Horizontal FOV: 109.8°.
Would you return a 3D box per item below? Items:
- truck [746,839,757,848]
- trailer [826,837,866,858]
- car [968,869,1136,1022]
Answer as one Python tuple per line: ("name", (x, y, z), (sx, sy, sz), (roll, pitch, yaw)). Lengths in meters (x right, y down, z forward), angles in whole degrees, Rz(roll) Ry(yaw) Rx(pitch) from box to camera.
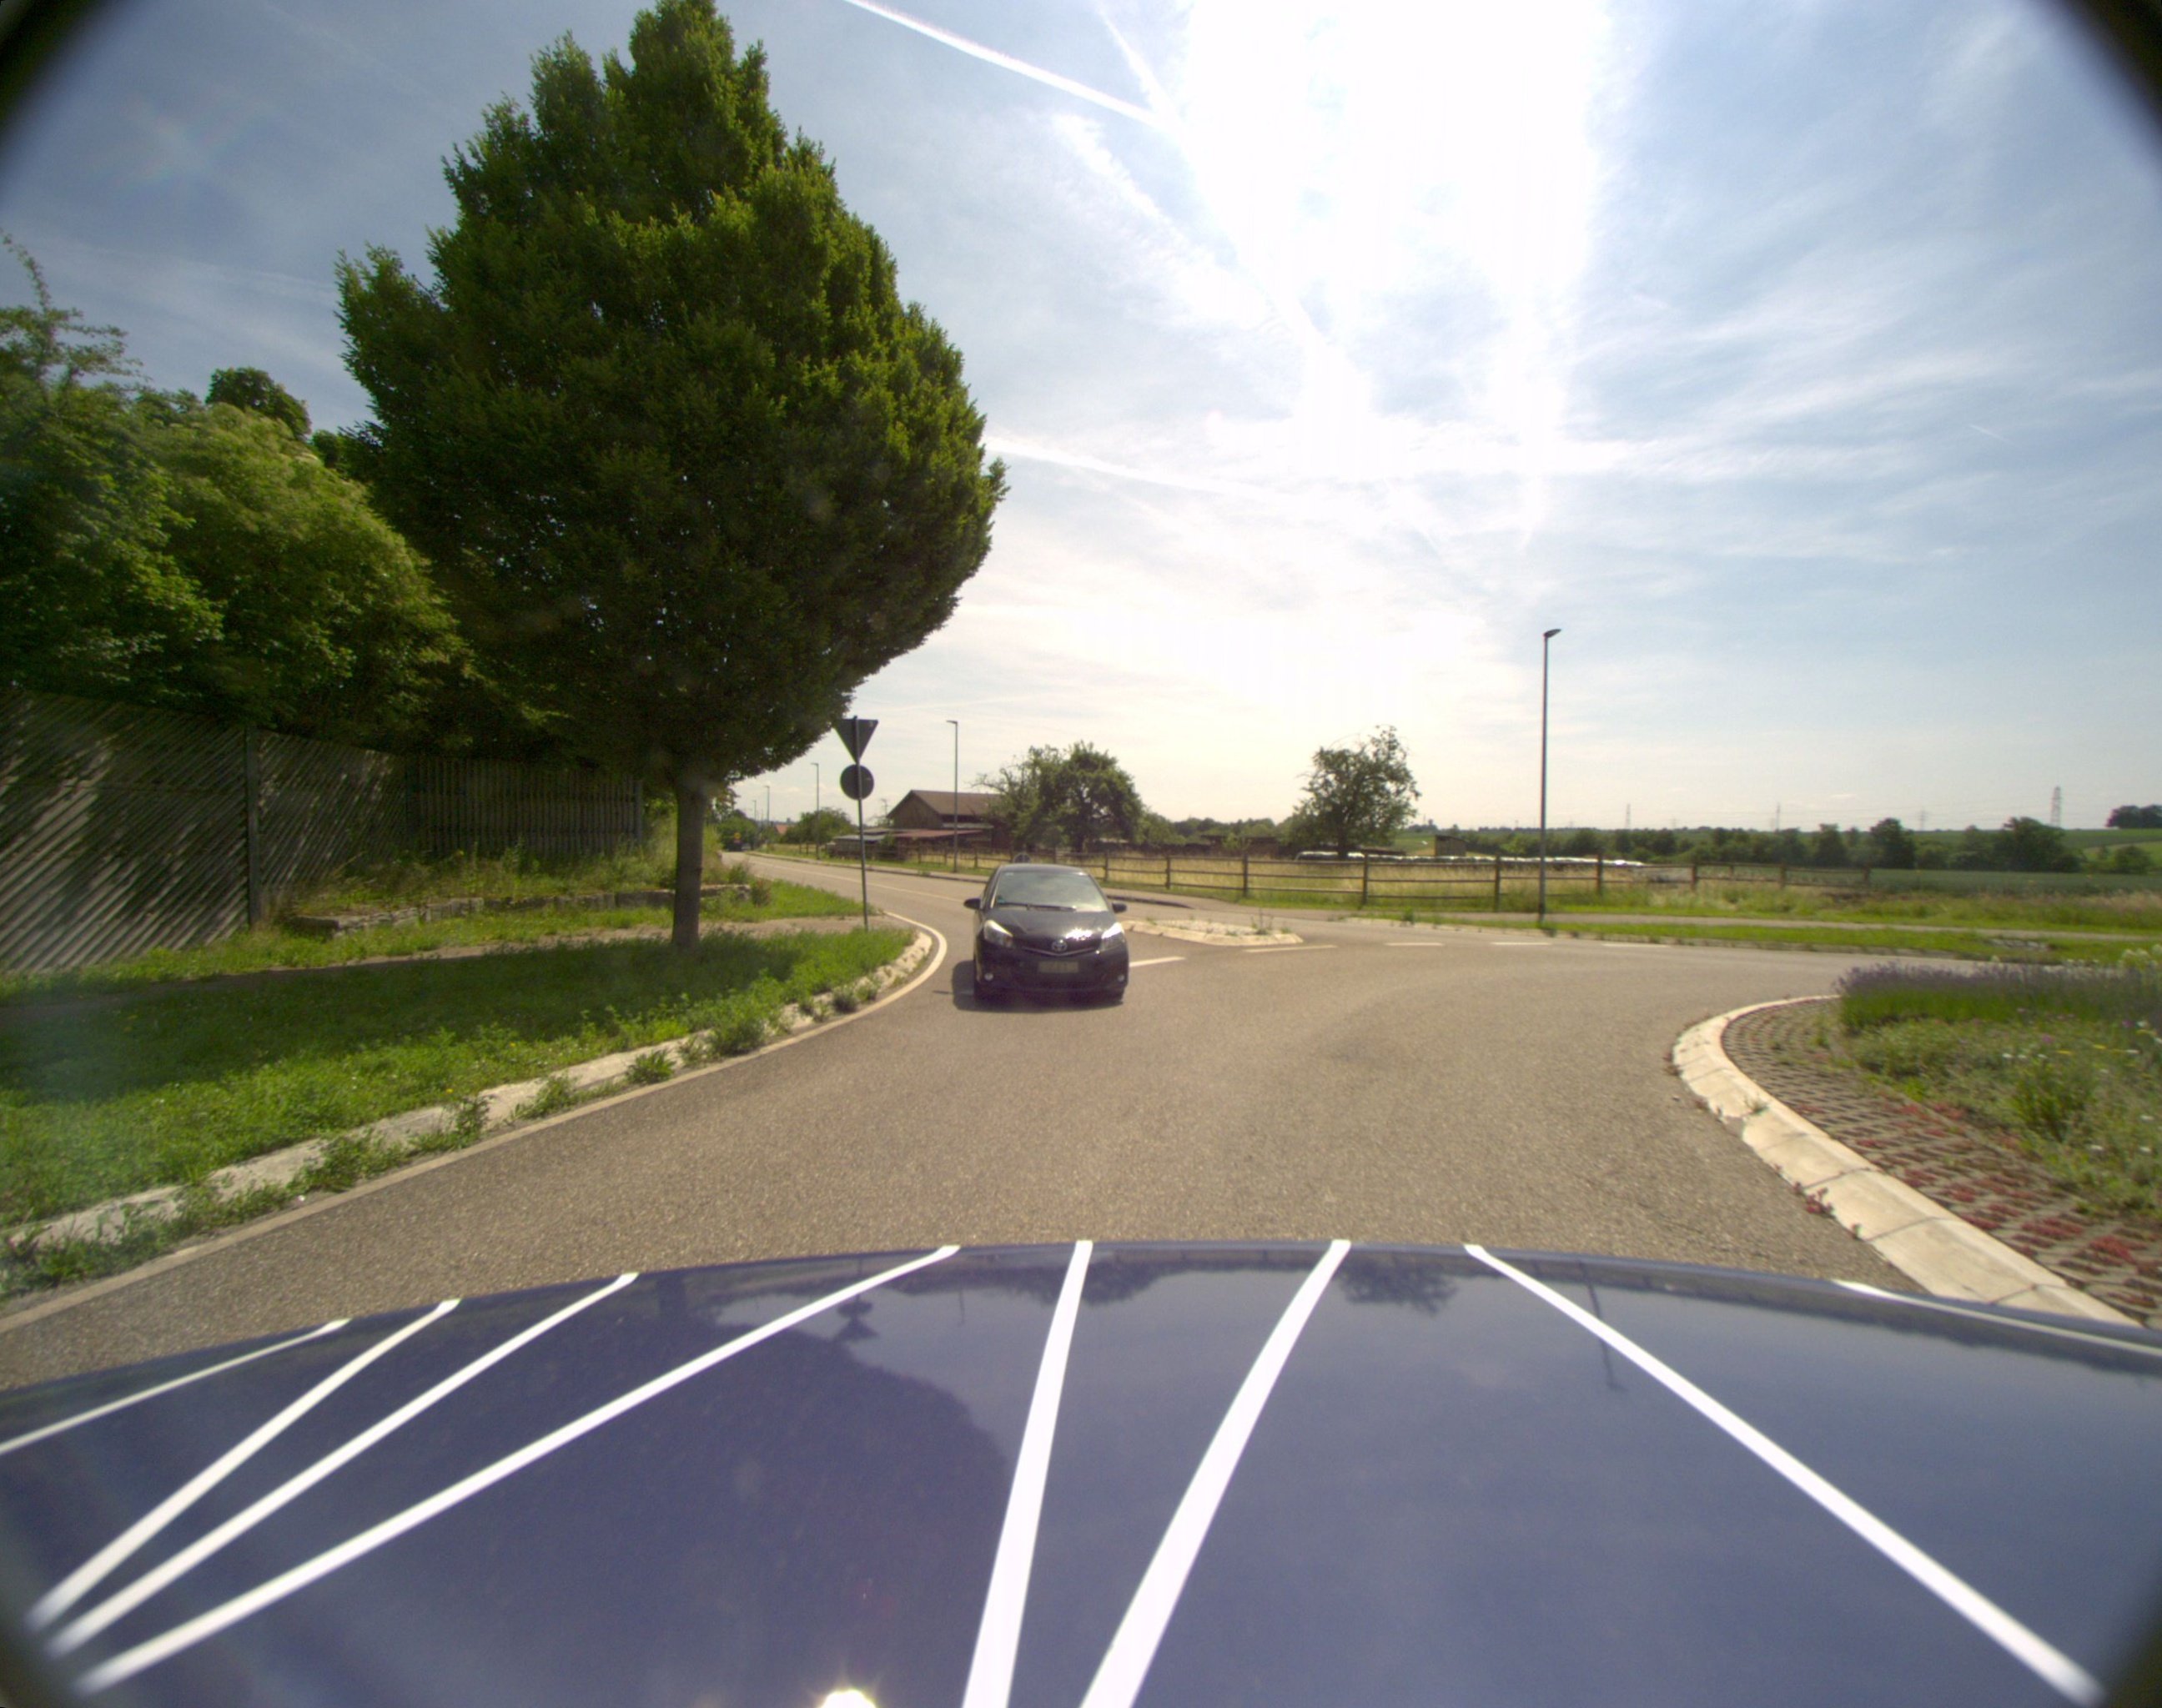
("truck", (-85.548, -2.779, 197.189), (2.233, 2.280, 6.476), (1, 1, -25))
("trailer", (-20.900, -0.600, 67.481), (2.166, 1.693, 5.015), (2, 1, -31))
("car", (-0.567, 0.967, 9.852), (1.678, 1.456, 4.430), (1, 0, -7))
